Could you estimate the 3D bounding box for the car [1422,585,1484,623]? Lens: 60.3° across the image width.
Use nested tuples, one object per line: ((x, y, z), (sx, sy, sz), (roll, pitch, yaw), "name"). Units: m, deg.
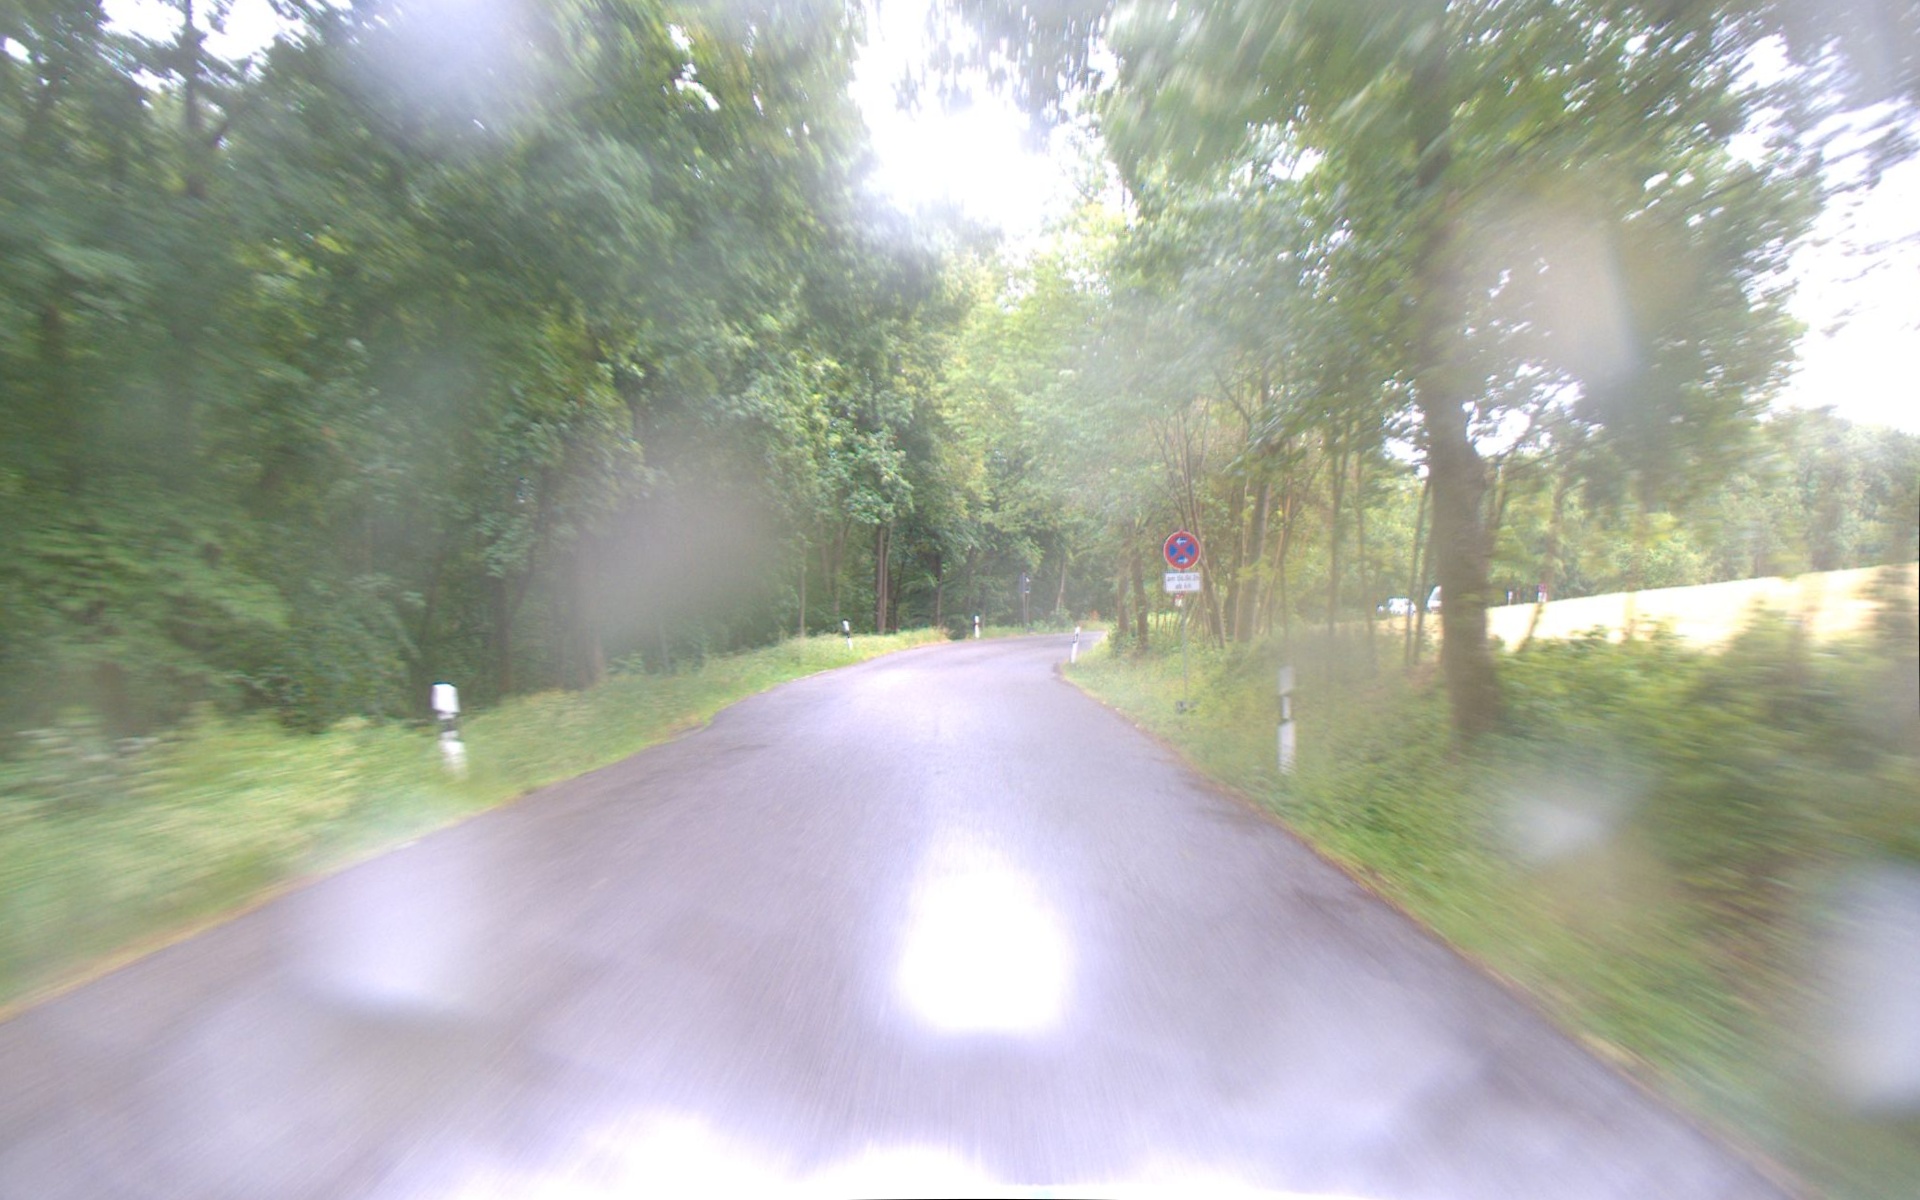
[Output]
((38.560, 0.266, 129.313), (2.239, 2.744, 6.013), (-2, 0, 42), "car")
